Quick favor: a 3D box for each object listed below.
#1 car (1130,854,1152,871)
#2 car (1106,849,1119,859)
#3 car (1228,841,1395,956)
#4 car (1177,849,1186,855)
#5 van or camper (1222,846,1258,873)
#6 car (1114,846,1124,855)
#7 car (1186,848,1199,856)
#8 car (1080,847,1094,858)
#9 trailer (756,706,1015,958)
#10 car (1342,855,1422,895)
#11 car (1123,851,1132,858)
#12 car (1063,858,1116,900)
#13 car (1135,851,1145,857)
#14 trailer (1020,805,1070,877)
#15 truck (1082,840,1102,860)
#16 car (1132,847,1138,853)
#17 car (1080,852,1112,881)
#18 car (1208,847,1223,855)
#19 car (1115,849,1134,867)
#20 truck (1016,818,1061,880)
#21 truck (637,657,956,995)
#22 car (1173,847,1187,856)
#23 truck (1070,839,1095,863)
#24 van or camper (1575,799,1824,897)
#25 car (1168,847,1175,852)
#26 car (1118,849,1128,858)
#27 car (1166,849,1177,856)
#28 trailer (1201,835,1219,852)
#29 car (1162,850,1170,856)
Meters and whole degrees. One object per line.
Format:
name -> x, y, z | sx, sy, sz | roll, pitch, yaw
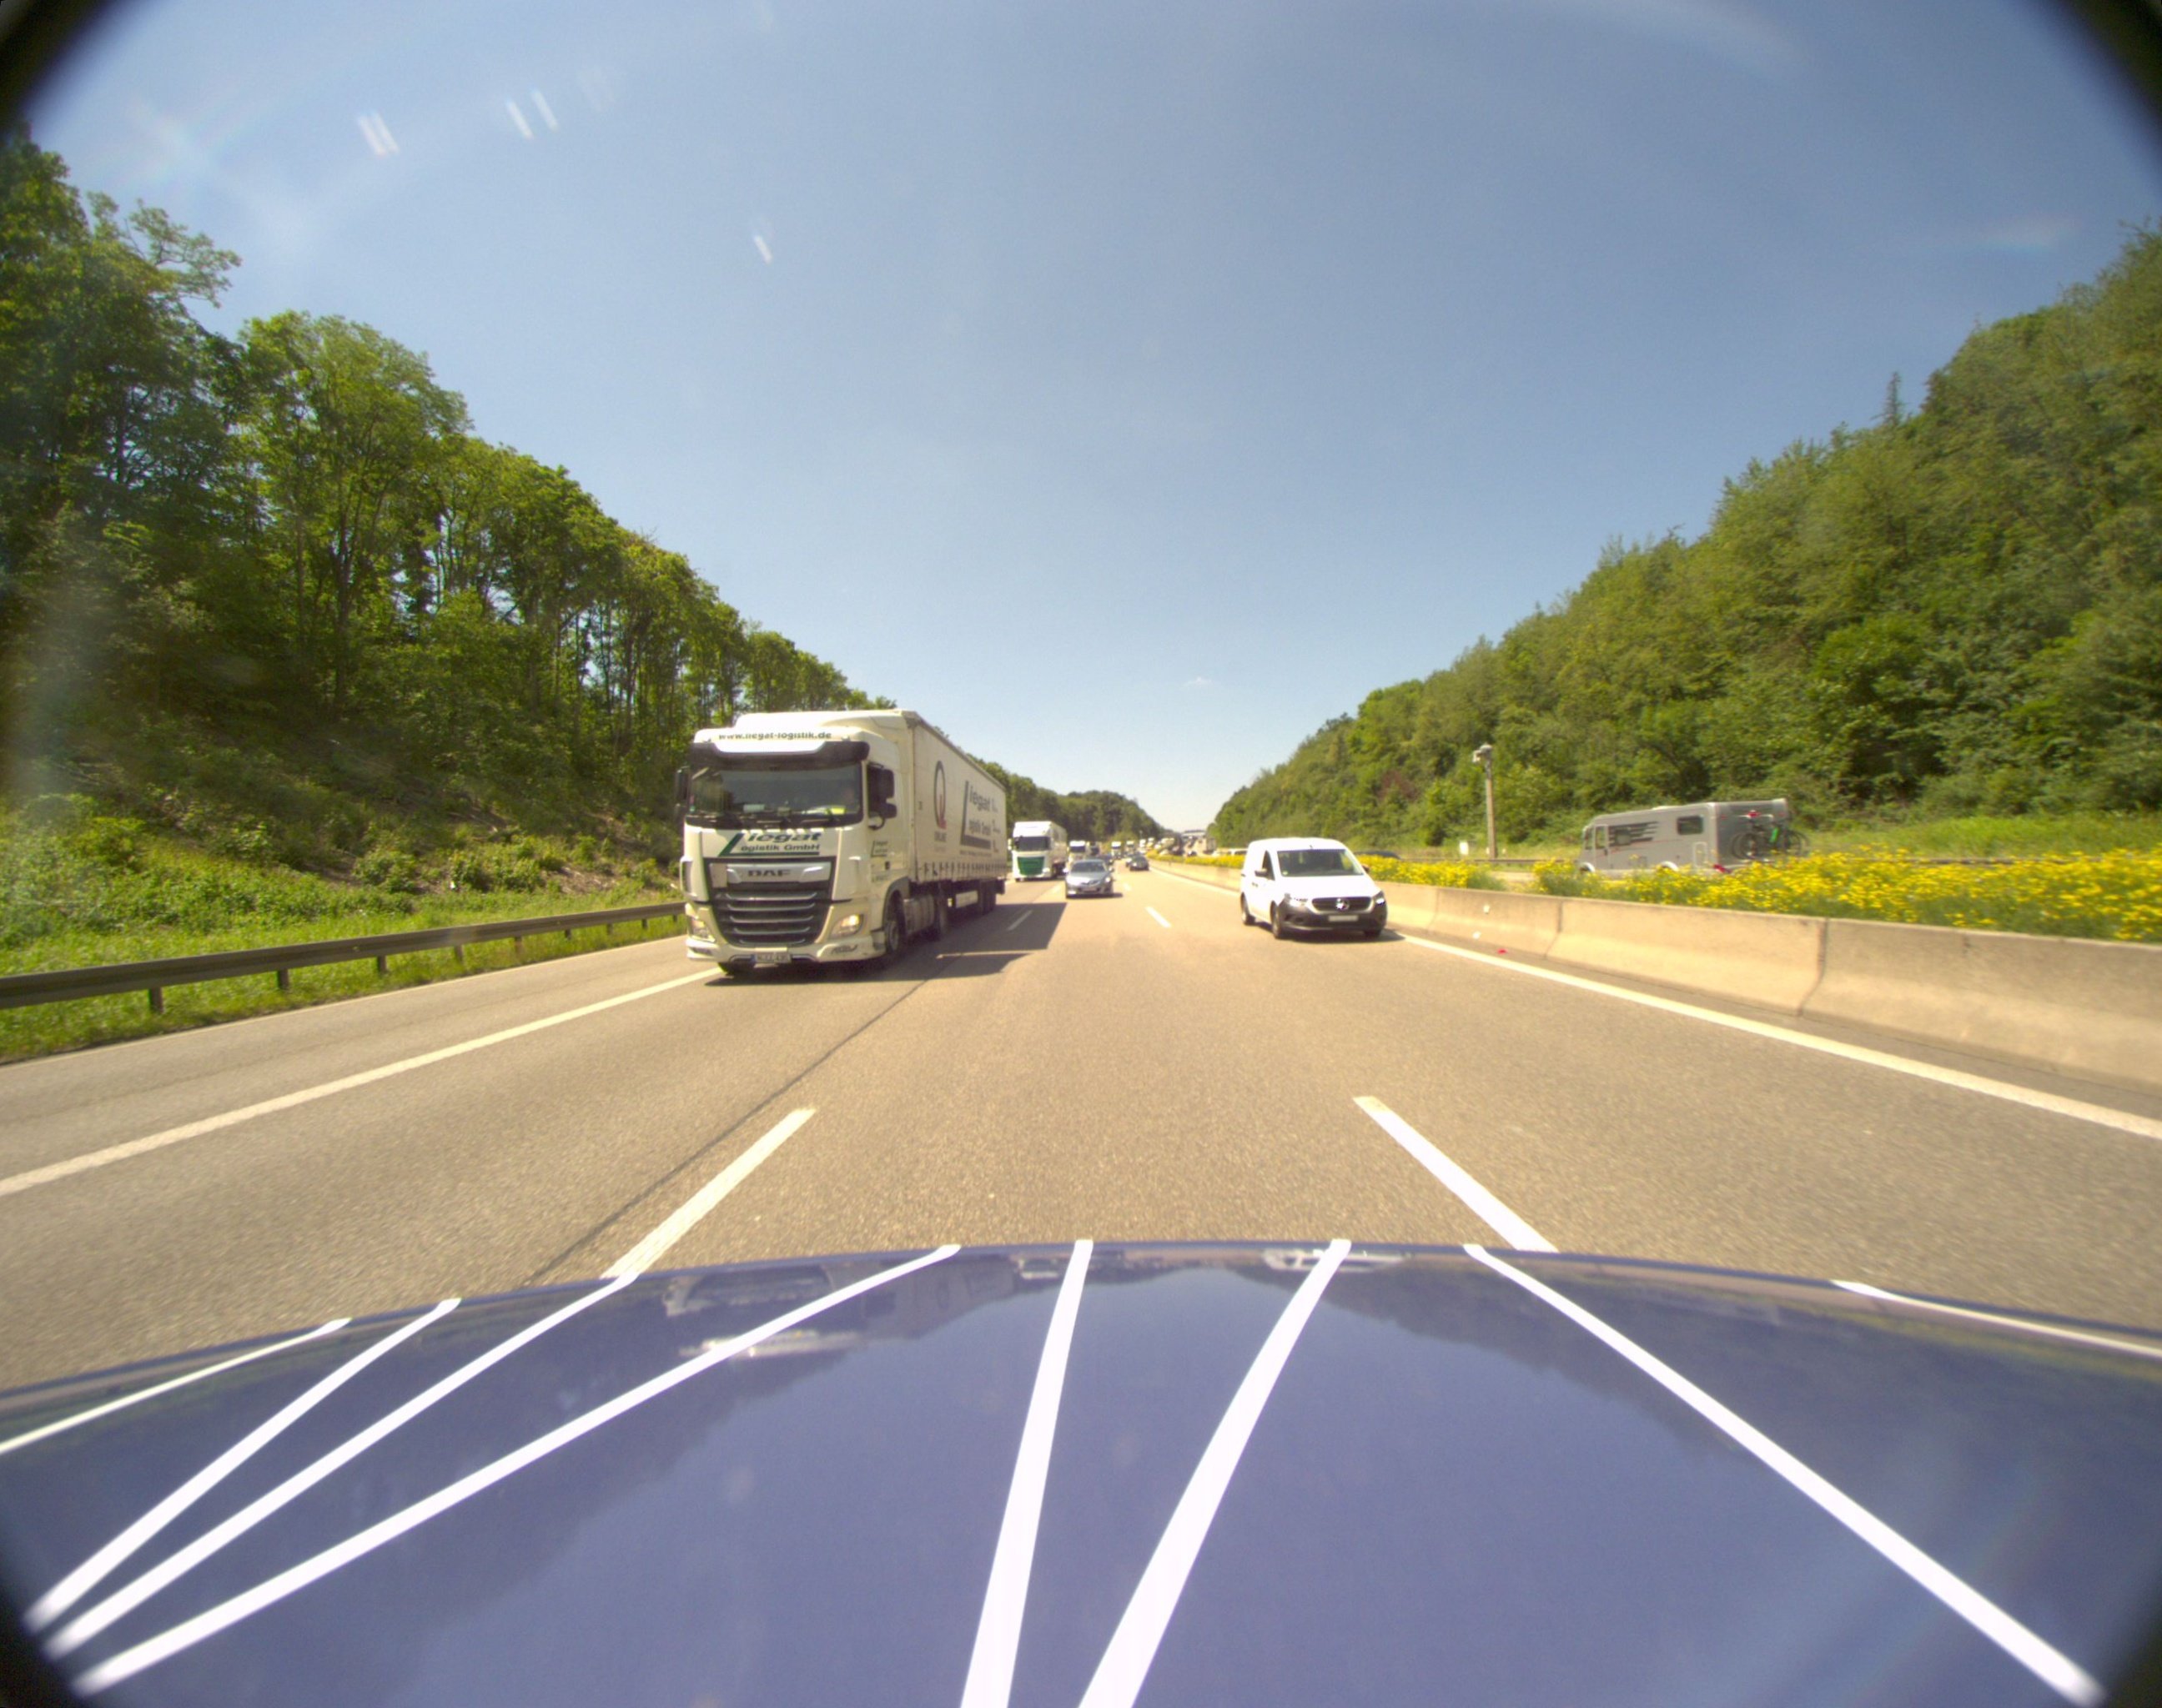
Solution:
car -> 5.749, 0.787, 72.775 | 1.720, 1.470, 4.000 | -2, 0, 0
car -> 5.506, -0.019, 131.215 | 1.998, 1.728, 4.000 | -2, 1, 4
car -> 4.145, 0.708, 14.496 | 1.769, 1.802, 4.674 | -2, 0, 1
car -> 28.702, -0.619, 216.977 | 1.998, 1.563, 4.000 | -2, 1, 3
van or camper -> 12.556, 0.414, 60.345 | 1.887, 2.002, 4.587 | -2, 1, 0
car -> 11.591, -1.065, 232.629 | 2.697, 2.467, 6.586 | -1, 1, 6
car -> 20.727, -0.404, 141.843 | 1.998, 1.477, 4.000 | -2, 1, 2
car -> 0.987, -0.237, 122.022 | 1.924, 1.652, 3.827 | -2, 1, 3
trailer -> -3.895, -0.310, 19.505 | 2.792, 4.180, 13.245 | -2, -1, 1
car -> 12.152, 0.800, 30.901 | 1.813, 1.477, 3.856 | -2, 0, 2
car -> 11.534, 0.054, 189.957 | 1.997, 1.728, 4.001 | -1, 1, 6
car -> 0.402, 0.924, 29.595 | 1.887, 1.458, 4.248 | -2, 0, 2
car -> 13.868, 0.017, 178.276 | 1.997, 1.426, 4.001 | -2, 0, 6
trailer -> -2.617, -1.035, 61.121 | 2.574, 5.011, 15.271 | -2, 1, 2
truck -> 2.169, -0.862, 151.109 | 3.557, 3.695, 7.551 | -2, 1, 3
car -> 18.122, -1.300, 254.253 | 1.997, 1.728, 4.001 | -1, 1, 6
car -> 0.992, 0.754, 47.743 | 1.887, 1.696, 4.085 | -2, 0, 3
car -> 24.044, -0.529, 136.062 | 1.998, 1.434, 4.171 | -2, 1, 1
car -> 5.287, 0.458, 93.473 | 1.999, 2.002, 3.999 | -2, 1, -1
truck -> -2.846, -0.379, 52.678 | 2.542, 4.006, 6.624 | -2, 1, 1
truck -> -4.089, -0.324, 12.544 | 2.792, 4.180, 5.870 | -2, 0, 1
car -> 16.549, -0.433, 127.420 | 1.998, 1.464, 4.874 | -2, 1, 4
truck -> 0.243, -0.467, 113.028 | 3.262, 3.337, 6.863 | -2, 1, 3
van or camper -> 18.609, -0.214, 23.550 | 2.191, 2.546, 6.931 | -2, 1, 2
car -> 31.007, -1.453, 259.444 | 1.998, 1.668, 4.081 | -1, 0, 3
car -> 8.954, -0.138, 161.355 | 1.998, 1.728, 4.000 | -2, 1, 4
car -> 20.201, -0.340, 169.725 | 1.998, 1.477, 4.000 | -2, 1, 4
trailer -> 33.516, -2.720, 198.523 | 2.721, 4.183, 13.932 | -2, 1, 2
car -> 23.017, -0.254, 205.763 | 1.998, 1.477, 4.000 | -2, 1, 4
